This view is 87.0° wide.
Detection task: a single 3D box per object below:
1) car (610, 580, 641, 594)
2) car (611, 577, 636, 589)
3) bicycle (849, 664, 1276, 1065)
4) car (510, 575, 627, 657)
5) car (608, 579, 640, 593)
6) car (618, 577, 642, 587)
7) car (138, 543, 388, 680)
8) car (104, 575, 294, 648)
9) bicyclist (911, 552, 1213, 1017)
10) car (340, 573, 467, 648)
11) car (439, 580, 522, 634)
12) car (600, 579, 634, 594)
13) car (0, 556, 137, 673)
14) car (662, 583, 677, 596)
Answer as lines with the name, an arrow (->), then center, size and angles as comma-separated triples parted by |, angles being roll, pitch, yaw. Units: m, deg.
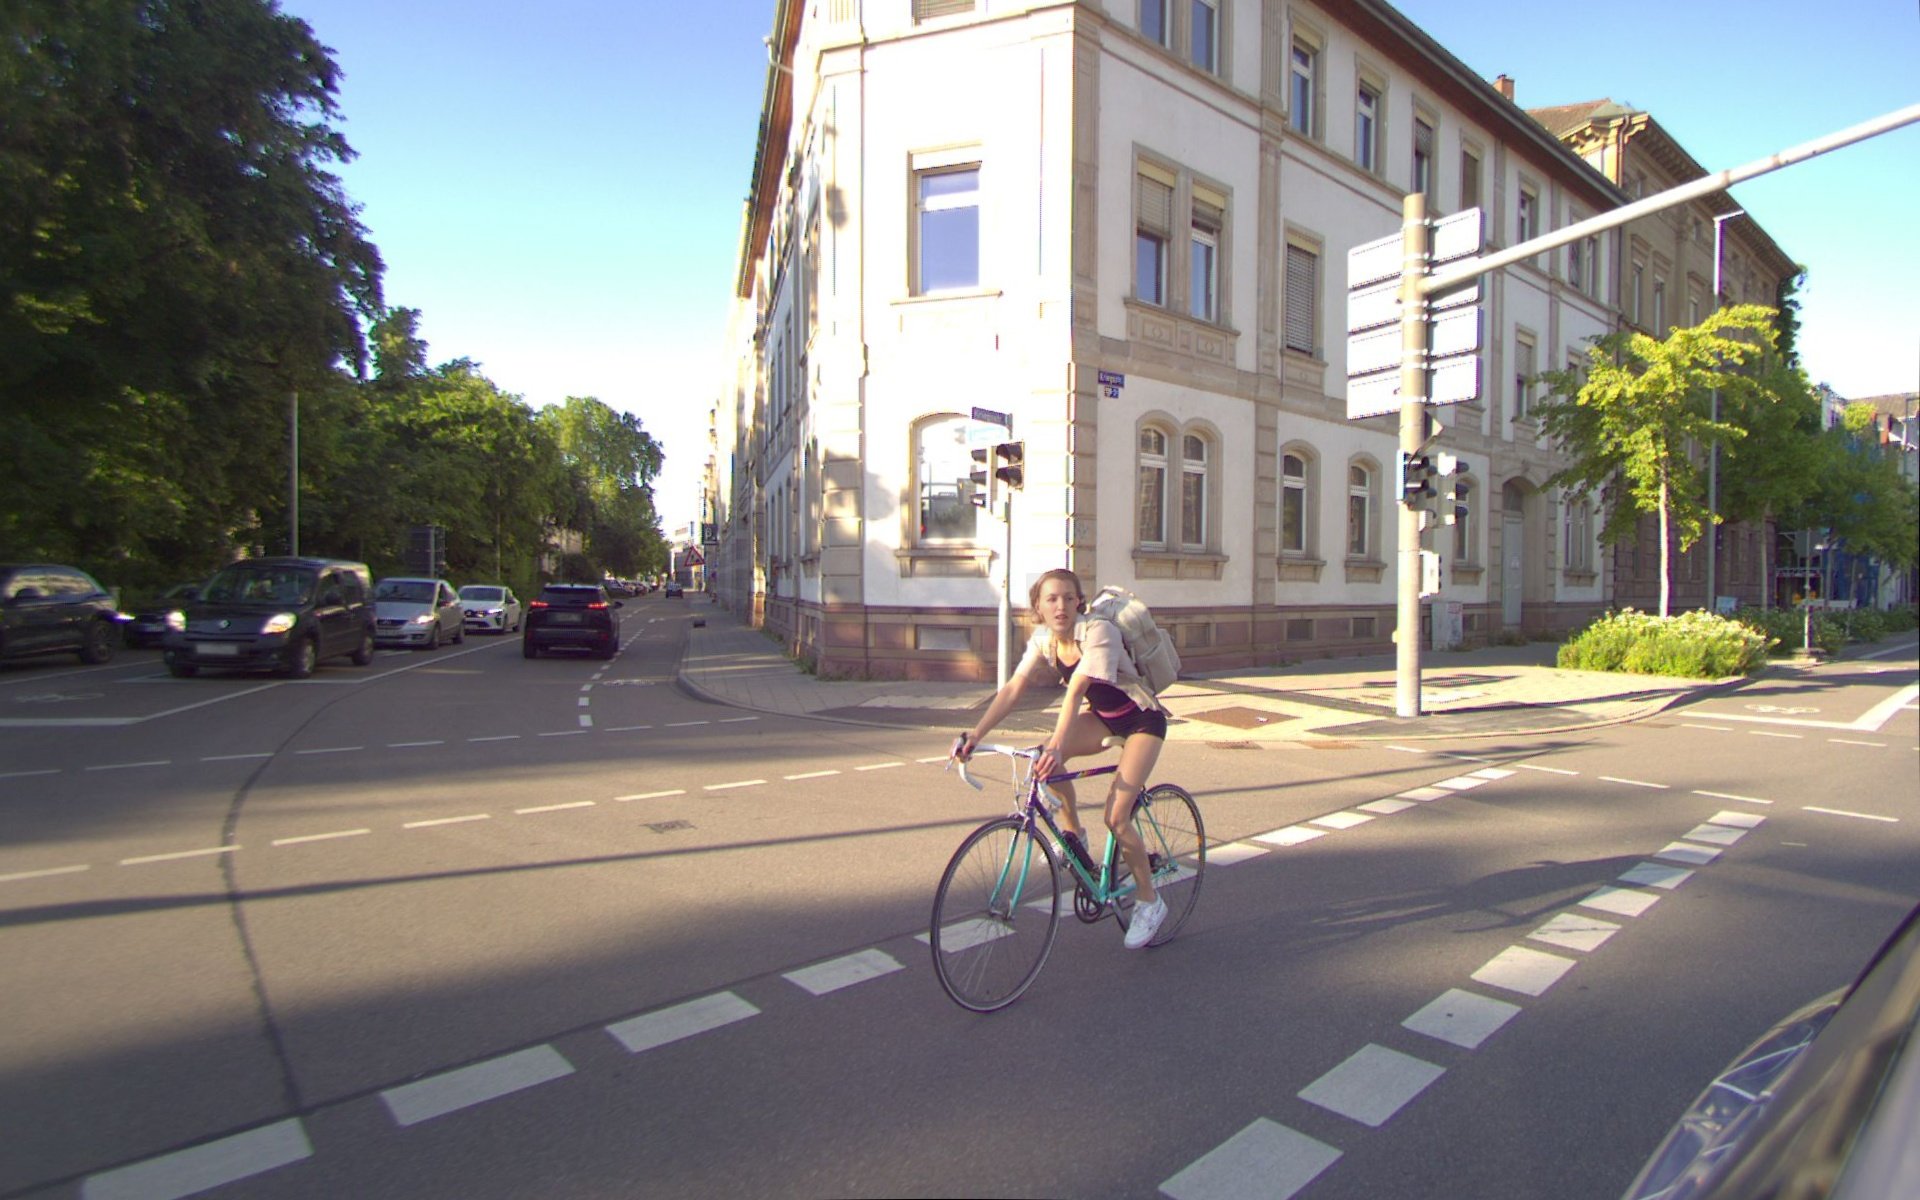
car -> -41.293, -1.642, 125.101 | 3.573, 1.553, 1.635 | 2, 0, -18
car -> -51.164, -2.589, 153.955 | 3.573, 1.553, 1.635 | 2, 0, -18
bicycle -> 0.476, 0.859, 3.886 | 1.810, 1.111, 0.521 | 0, 1, -41
car -> -8.323, 0.323, 21.844 | 1.863, 1.547, 4.067 | 2, -1, -15
car -> -39.852, -1.640, 120.034 | 3.573, 1.553, 1.635 | 2, 0, -18
car -> -52.494, -2.836, 161.065 | 3.573, 1.553, 1.635 | 2, 0, -18
car -> -10.714, 0.129, 15.966 | 1.908, 1.827, 4.257 | 2, 1, -15
car -> -16.357, 0.165, 22.032 | 1.863, 1.399, 4.245 | -1, 2, -15
bicyclist -> 0.407, 0.593, 3.844 | 1.062, 1.509, 0.553 | 0, 1, -41
car -> -12.435, 0.189, 22.826 | 1.702, 1.530, 3.537 | 2, 1, -15
car -> -14.201, 0.167, 30.153 | 1.597, 1.432, 3.658 | 2, 1, -15
car -> -38.706, -1.487, 114.153 | 3.573, 1.553, 1.635 | 2, 0, -18
car -> -14.839, 0.190, 15.255 | 1.863, 1.673, 4.547 | -1, 2, -12
car -> -32.384, -1.197, 112.887 | 1.597, 1.432, 3.658 | 2, 1, -15
